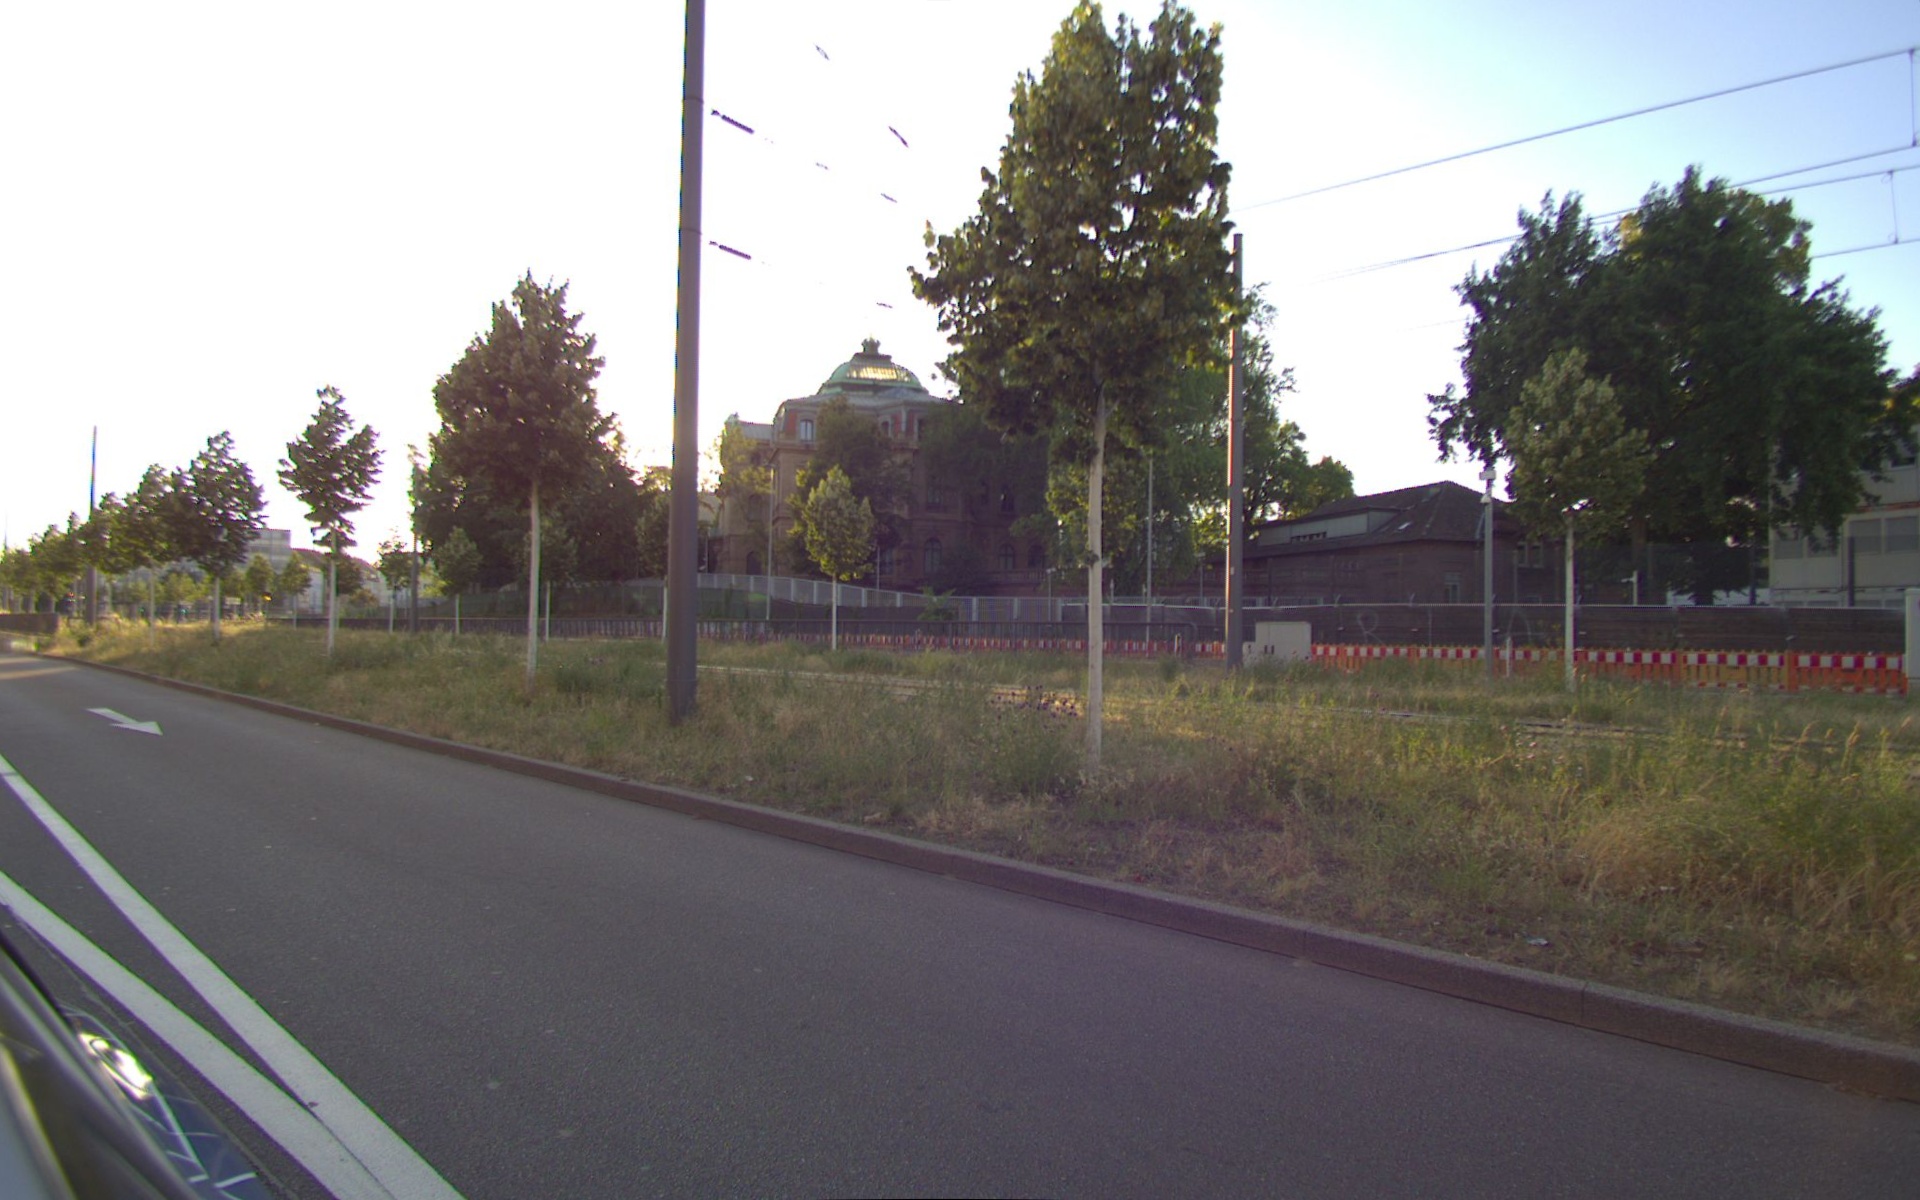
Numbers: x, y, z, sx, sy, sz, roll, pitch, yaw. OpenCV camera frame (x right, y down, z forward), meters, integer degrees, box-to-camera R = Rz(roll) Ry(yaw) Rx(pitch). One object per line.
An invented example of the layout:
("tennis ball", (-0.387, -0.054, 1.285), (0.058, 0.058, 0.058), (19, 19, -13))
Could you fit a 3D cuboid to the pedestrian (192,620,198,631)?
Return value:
("pedestrian", (-119.631, 4.000, 158.285), (0.637, 1.725, 0.839), (2, -2, -40))
